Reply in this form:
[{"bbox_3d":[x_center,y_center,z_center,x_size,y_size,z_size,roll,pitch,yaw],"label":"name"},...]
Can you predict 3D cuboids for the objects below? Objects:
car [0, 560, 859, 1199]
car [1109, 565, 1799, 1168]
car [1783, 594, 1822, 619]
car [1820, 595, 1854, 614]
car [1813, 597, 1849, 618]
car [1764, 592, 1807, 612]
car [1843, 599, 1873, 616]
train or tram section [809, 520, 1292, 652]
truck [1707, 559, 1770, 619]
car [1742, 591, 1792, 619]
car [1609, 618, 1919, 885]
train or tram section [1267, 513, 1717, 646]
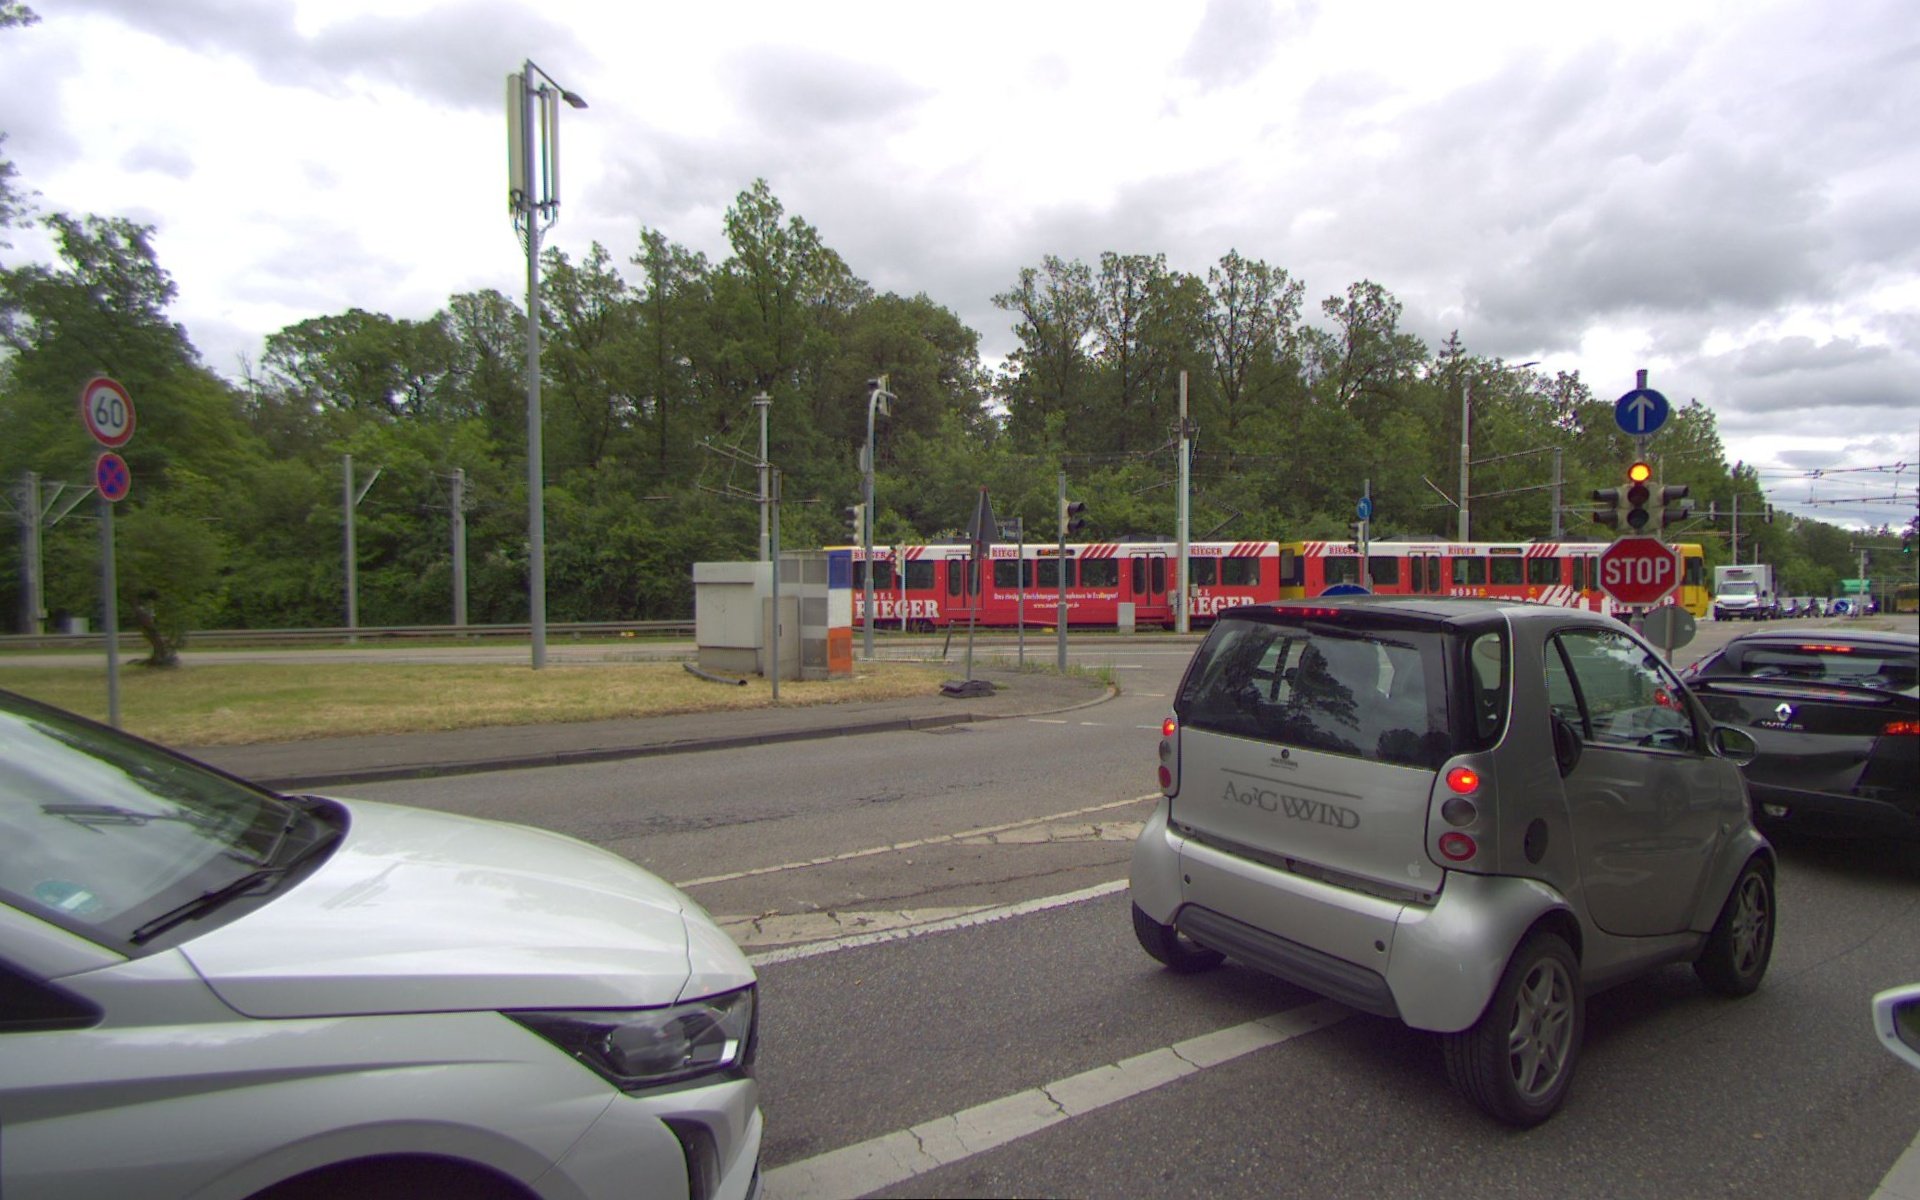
[{"bbox_3d":[-2.331,0.702,1.614,4.022,1.499,1.643,0,0,-28],"label":"car"},{"bbox_3d":[2.076,0.718,4.072,2.701,1.607,1.447,0,0,-36],"label":"car"},{"bbox_3d":[65.310,0.450,77.851,1.942,1.869,4.660,1,1,45],"label":"car"},{"bbox_3d":[74.853,0.389,85.735,1.942,1.562,4.368,1,1,45],"label":"car"},{"bbox_3d":[70.911,0.611,81.792,1.942,1.628,4.283,1,1,45],"label":"car"},{"bbox_3d":[59.656,0.154,72.565,1.942,1.380,4.660,1,1,45],"label":"car"},{"bbox_3d":[84.773,0.718,94.805,1.942,1.561,4.283,1,1,45],"label":"car"},{"bbox_3d":[3.465,-0.529,39.875,18.361,4.477,2.965,2,0,0],"label":"train or tram section"},{"bbox_3d":[45.212,-0.586,58.242,2.421,3.267,7.117,0,0,42],"label":"truck"},{"bbox_3d":[52.857,0.295,65.752,4.812,1.773,1.943,0,1,-43],"label":"car"},{"bbox_3d":[6.052,0.839,6.932,3.448,1.380,1.759,0,0,-41],"label":"car"},{"bbox_3d":[21.949,-0.719,41.441,18.208,4.712,2.952,2,0,-9],"label":"train or tram section"}]
